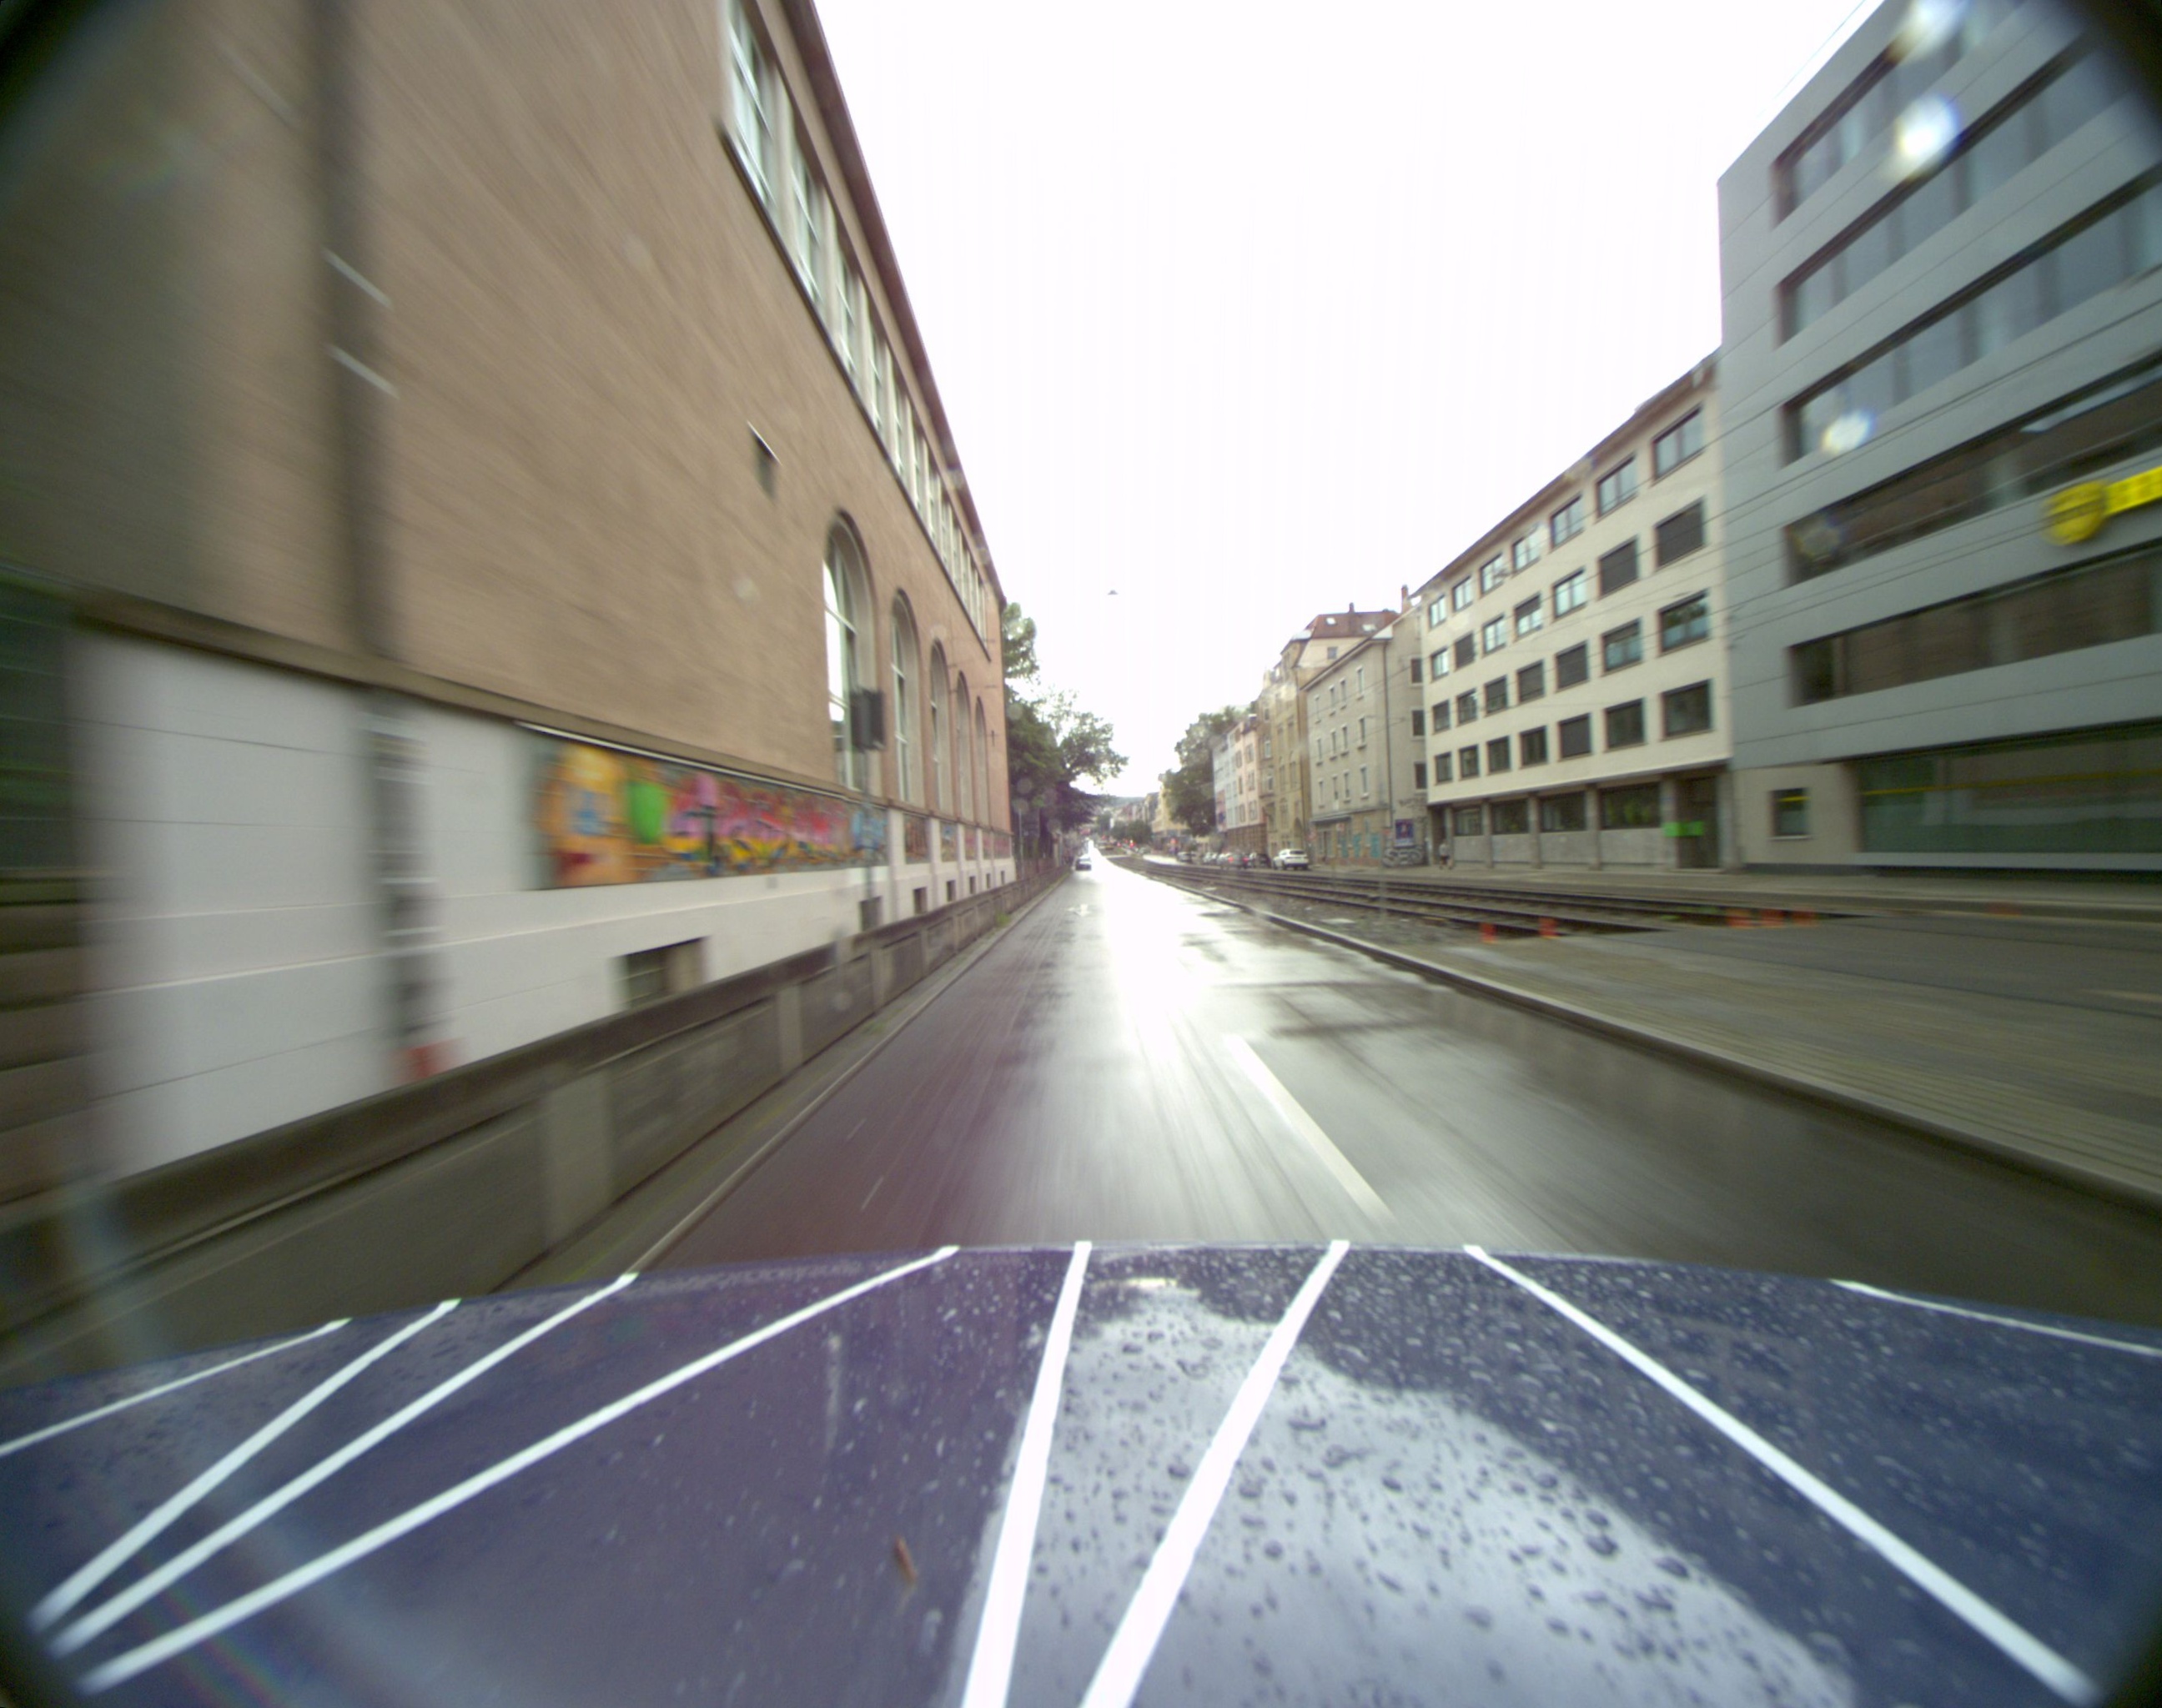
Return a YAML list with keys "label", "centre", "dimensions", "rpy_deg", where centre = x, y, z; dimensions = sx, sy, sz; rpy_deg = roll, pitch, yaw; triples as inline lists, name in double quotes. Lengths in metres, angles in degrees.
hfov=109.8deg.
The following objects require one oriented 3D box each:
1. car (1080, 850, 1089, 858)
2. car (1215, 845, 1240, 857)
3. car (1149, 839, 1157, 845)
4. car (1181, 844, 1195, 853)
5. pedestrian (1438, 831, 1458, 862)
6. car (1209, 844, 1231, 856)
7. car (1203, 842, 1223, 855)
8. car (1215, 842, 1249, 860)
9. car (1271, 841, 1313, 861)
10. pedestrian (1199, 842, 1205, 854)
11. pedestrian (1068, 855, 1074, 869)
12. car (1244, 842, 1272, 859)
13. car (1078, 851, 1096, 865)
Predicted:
- label: "car"
  centre: [0.766, -0.105, 174.575]
  dimensions: [1.998, 1.674, 4.124]
  rpy_deg: [-3, 1, 2]
- label: "car"
  centre: [16.750, -0.374, 87.261]
  dimensions: [1.998, 1.389, 5.022]
  rpy_deg: [1, 1, 1]
- label: "car"
  centre: [22.366, -3.797, 236.449]
  dimensions: [1.998, 1.674, 4.000]
  rpy_deg: [-3, 1, 2]
- label: "car"
  centre: [17.850, -0.928, 126.876]
  dimensions: [1.842, 1.532, 4.228]
  rpy_deg: [-1, 1, 2]
- label: "pedestrian"
  centre: [19.818, -0.425, 41.039]
  dimensions: [0.548, 1.603, 0.798]
  rpy_deg: [-5, 1, 3]
- label: "car"
  centre: [16.858, -0.509, 92.470]
  dimensions: [1.843, 1.389, 4.265]
  rpy_deg: [-1, 1, -1]
- label: "car"
  centre: [17.035, -0.669, 98.125]
  dimensions: [1.843, 1.596, 4.227]
  rpy_deg: [-1, 1, -1]
- label: "car"
  centre: [13.188, -0.273, 66.572]
  dimensions: [1.945, 1.527, 4.347]
  rpy_deg: [1, 1, -3]
- label: "car"
  centre: [16.418, -0.252, 59.406]
  dimensions: [1.998, 1.527, 4.748]
  rpy_deg: [1, 1, 0]
- label: "pedestrian"
  centre: [19.675, -0.974, 123.386]
  dimensions: [0.809, 1.858, 0.536]
  rpy_deg: [-2, 1, 4]
- label: "pedestrian"
  centre: [-1.363, 1.056, 103.744]
  dimensions: [0.716, 1.879, 0.599]
  rpy_deg: [-3, 1, -1]
- label: "car"
  centre: [16.557, -0.338, 71.256]
  dimensions: [1.740, 1.447, 4.170]
  rpy_deg: [1, 1, 0]
- label: "car"
  centre: [0.675, 0.426, 84.949]
  dimensions: [1.787, 1.521, 4.245]
  rpy_deg: [-3, 1, 3]
